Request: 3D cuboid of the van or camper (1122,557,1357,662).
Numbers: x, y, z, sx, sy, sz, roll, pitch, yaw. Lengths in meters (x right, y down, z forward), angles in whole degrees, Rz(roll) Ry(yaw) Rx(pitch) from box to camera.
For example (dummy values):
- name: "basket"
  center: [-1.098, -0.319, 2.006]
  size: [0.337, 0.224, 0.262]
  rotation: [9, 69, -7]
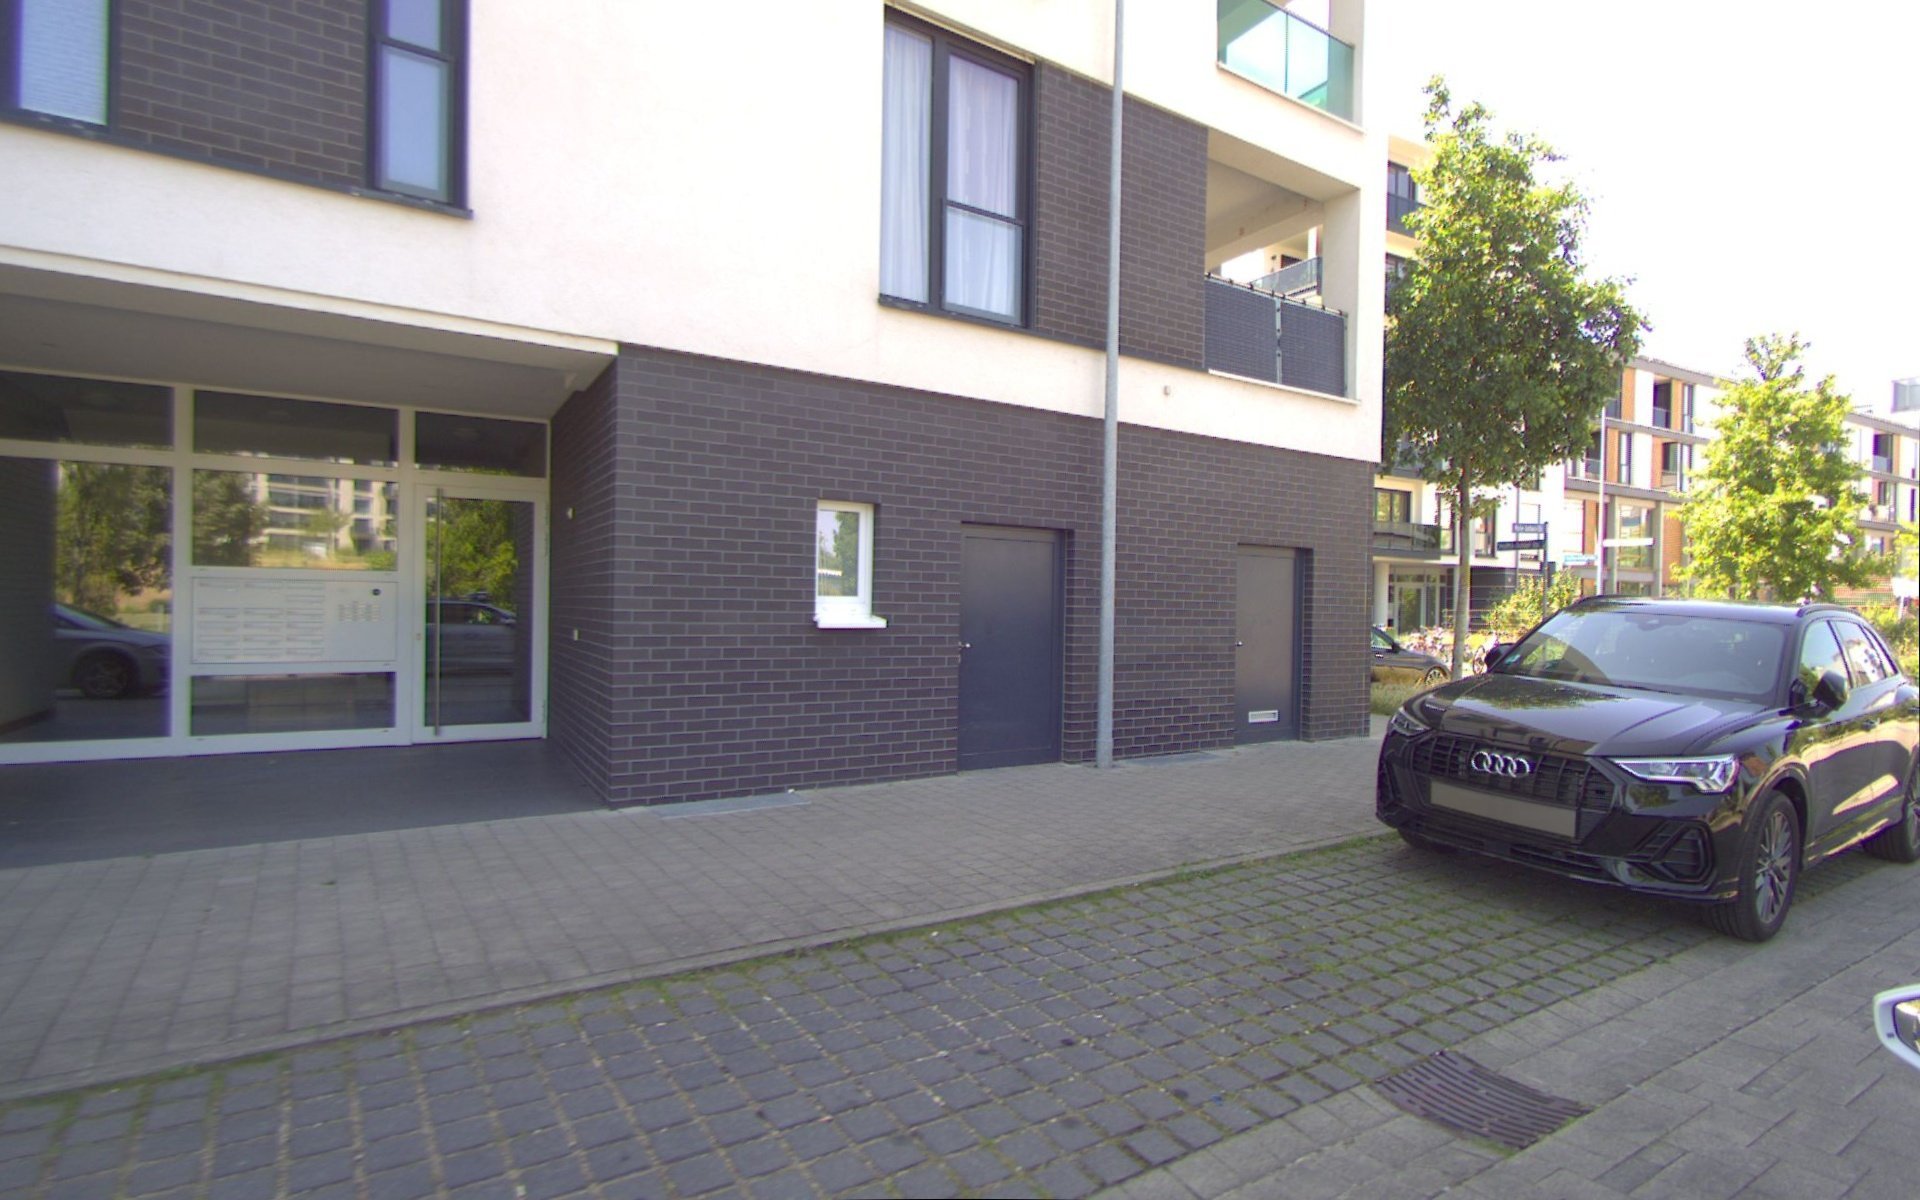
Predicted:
- name: "van or camper"
  center: [8.639, 0.327, 32.191]
  size: [2.418, 2.944, 7.764]
  rotation: [2, -1, -30]

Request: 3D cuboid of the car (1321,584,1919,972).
- name: "car"
  center: [4.287, 0.748, 6.071]
  size: [4.353, 1.540, 1.761]
  rotation: [1, 2, -35]

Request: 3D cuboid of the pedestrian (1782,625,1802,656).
- name: "pedestrian"
  center: [27.406, 1.325, 33.089]
  size: [0.286, 0.984, 0.386]
  rotation: [2, 0, -18]

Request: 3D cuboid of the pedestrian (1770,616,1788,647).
- name: "pedestrian"
  center: [28.512, 1.089, 34.973]
  size: [0.409, 1.039, 0.392]
  rotation: [3, -1, -40]

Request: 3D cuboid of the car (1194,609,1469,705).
- name: "car"
  center: [6.689, 0.962, 17.894]
  size: [5.058, 1.504, 1.911]
  rotation: [2, -1, -32]

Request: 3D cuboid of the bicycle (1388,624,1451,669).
- name: "bicycle"
  center: [12.177, 1.214, 26.598]
  size: [1.865, 1.125, 0.472]
  rotation: [1, 0, -28]

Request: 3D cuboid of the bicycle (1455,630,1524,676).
- name: "bicycle"
  center: [13.150, 1.299, 24.904]
  size: [2.017, 1.016, 0.864]
  rotation: [0, 1, -42]

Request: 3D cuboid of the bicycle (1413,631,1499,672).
- name: "bicycle"
  center: [12.715, 1.306, 25.751]
  size: [1.829, 0.988, 0.942]
  rotation: [0, 0, -17]

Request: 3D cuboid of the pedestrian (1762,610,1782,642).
- name: "pedestrian"
  center: [27.030, 0.867, 33.420]
  size: [0.404, 1.038, 0.282]
  rotation: [2, 0, 3]
